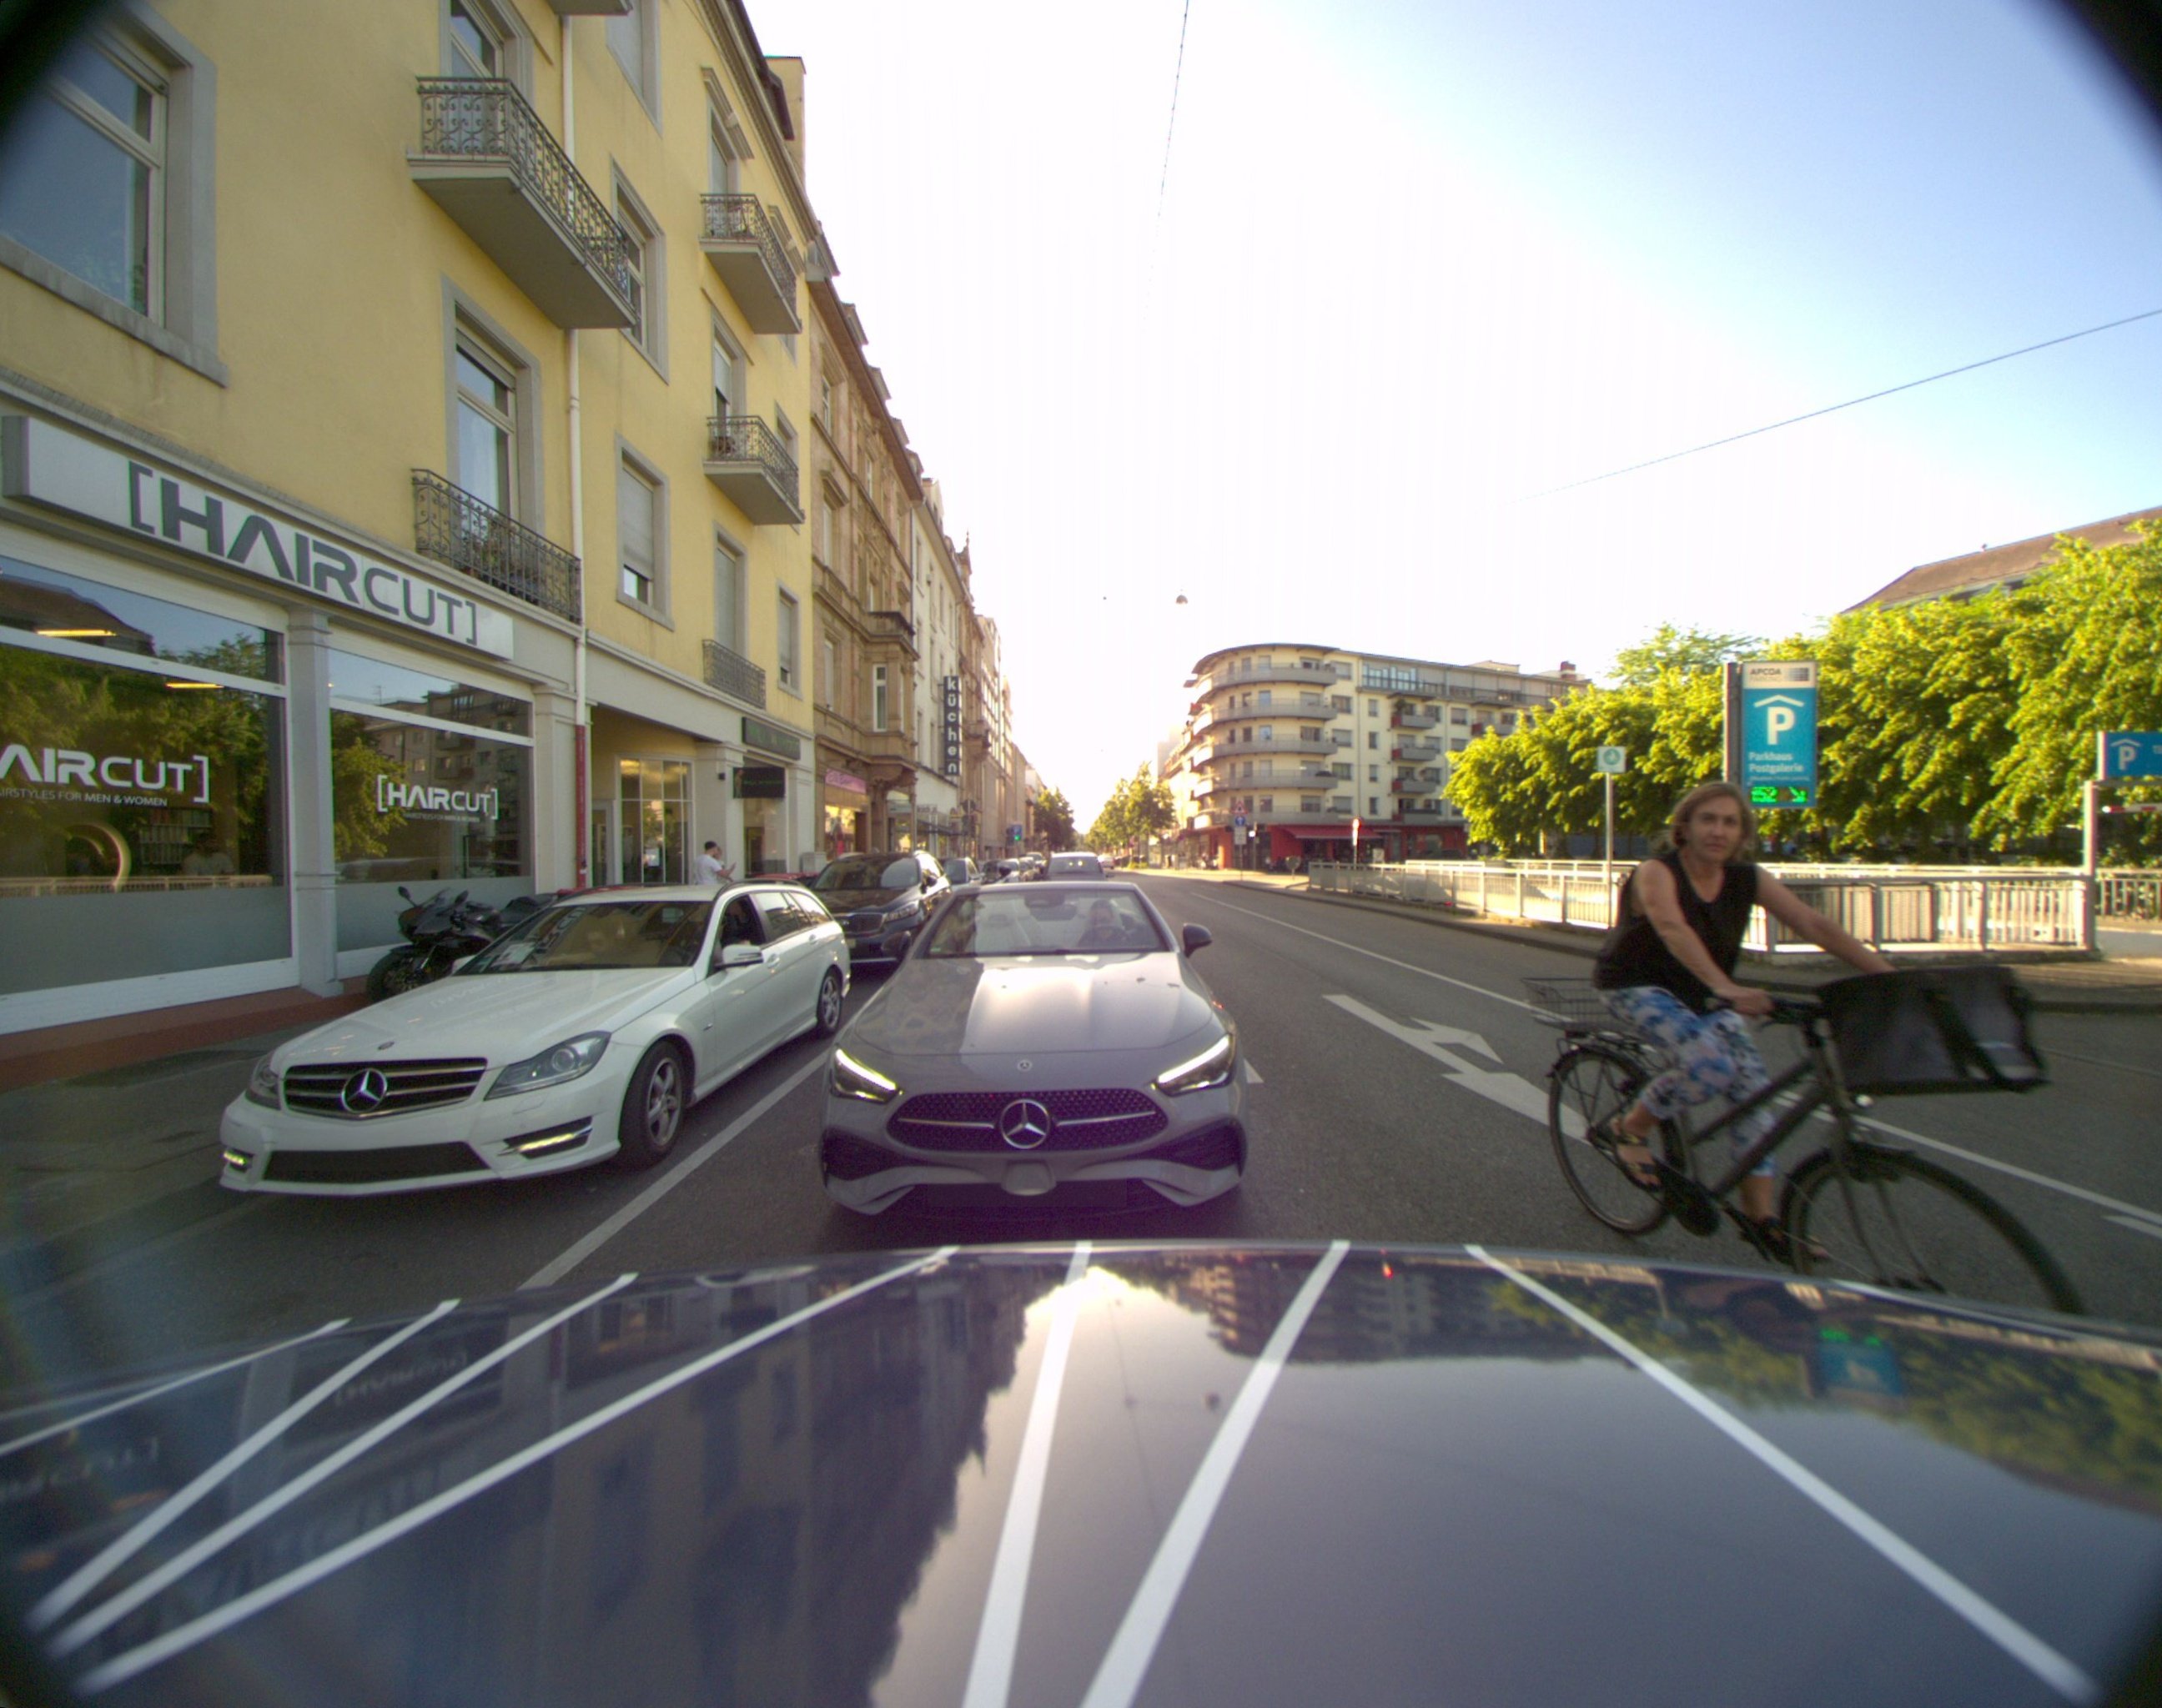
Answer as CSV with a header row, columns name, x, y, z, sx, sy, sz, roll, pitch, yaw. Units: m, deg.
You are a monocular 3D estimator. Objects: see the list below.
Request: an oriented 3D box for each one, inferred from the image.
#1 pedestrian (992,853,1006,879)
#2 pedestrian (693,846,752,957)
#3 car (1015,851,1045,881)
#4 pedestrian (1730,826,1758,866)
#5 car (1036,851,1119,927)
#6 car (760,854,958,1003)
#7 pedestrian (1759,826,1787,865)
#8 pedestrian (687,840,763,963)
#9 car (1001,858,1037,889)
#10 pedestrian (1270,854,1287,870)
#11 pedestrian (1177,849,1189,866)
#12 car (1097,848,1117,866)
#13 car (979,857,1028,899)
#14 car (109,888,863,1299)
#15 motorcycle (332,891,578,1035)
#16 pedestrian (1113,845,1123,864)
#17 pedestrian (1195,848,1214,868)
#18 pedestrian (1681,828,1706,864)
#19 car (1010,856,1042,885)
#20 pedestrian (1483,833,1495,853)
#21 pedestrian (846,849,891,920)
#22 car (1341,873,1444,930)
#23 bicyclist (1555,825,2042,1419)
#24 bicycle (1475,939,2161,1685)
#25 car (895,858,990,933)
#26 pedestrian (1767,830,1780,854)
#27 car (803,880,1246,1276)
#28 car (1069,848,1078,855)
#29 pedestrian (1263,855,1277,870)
name,x,y,z,sx,sy,sz,roll,pitch,yaw
pedestrian,-5.736,0.825,53.339,0.826,1.750,0.823,-2,1,-1
pedestrian,-6.149,0.795,13.071,0.630,1.826,0.770,-2,1,-7
car,-3.153,0.714,47.558,1.695,1.670,3.880,-2,1,-3
pedestrian,32.097,-0.389,36.781,0.748,1.852,0.683,-2,1,-13
car,-0.141,0.806,19.912,1.866,1.658,4.706,-2,1,-2
car,-3.013,0.890,11.349,1.806,1.680,4.408,-2,1,-3
pedestrian,33.414,-0.429,36.684,0.748,1.832,0.683,-2,1,-13
pedestrian,-5.711,0.731,12.178,0.975,1.866,0.534,-3,1,-31
car,-2.955,0.899,36.692,1.461,1.310,3.362,-2,1,-1
pedestrian,15.429,0.650,59.391,0.937,1.191,0.832,-3,1,-24
pedestrian,10.210,0.343,75.946,1.060,1.739,0.962,-2,1,1
car,2.770,0.345,81.443,1.836,1.831,3.886,1,1,-2
car,-3.027,0.902,30.323,1.695,1.482,3.796,-2,1,-3
car,-3.026,1.073,5.257,1.672,1.364,4.377,-2,1,1
motorcycle,-6.256,1.024,7.799,0.735,1.124,2.109,2,1,1
pedestrian,4.757,0.083,97.830,1.117,2.328,1.028,-2,1,-6
pedestrian,10.443,0.355,64.155,1.140,1.656,1.271,-2,1,-13
pedestrian,31.775,-0.393,39.411,0.748,1.832,0.683,-3,1,-21
car,-2.943,0.865,40.960,1.461,1.391,3.362,-2,1,-1
pedestrian,38.366,-1.008,71.414,0.747,1.832,0.684,-2,1,1
pedestrian,-5.306,0.740,19.028,0.837,1.709,0.819,-2,1,-3
car,10.394,1.527,25.689,1.676,1.522,4.248,-1,2,-1
bicyclist,2.087,0.671,2.370,0.607,1.475,0.958,-2,1,2
bicycle,2.104,1.018,2.485,0.629,1.216,2.000,-2,1,2
car,-3.182,0.906,18.000,1.583,1.514,2.998,-2,1,1
pedestrian,46.287,-0.829,50.772,0.494,1.570,0.493,-3,1,-24
car,-0.282,0.998,5.369,1.769,1.360,4.471,-2,1,-2
car,-1.512,-0.510,157.495,1.695,1.437,3.575,-2,1,-2
pedestrian,14.922,0.662,60.049,0.780,1.191,0.884,-2,1,-10
